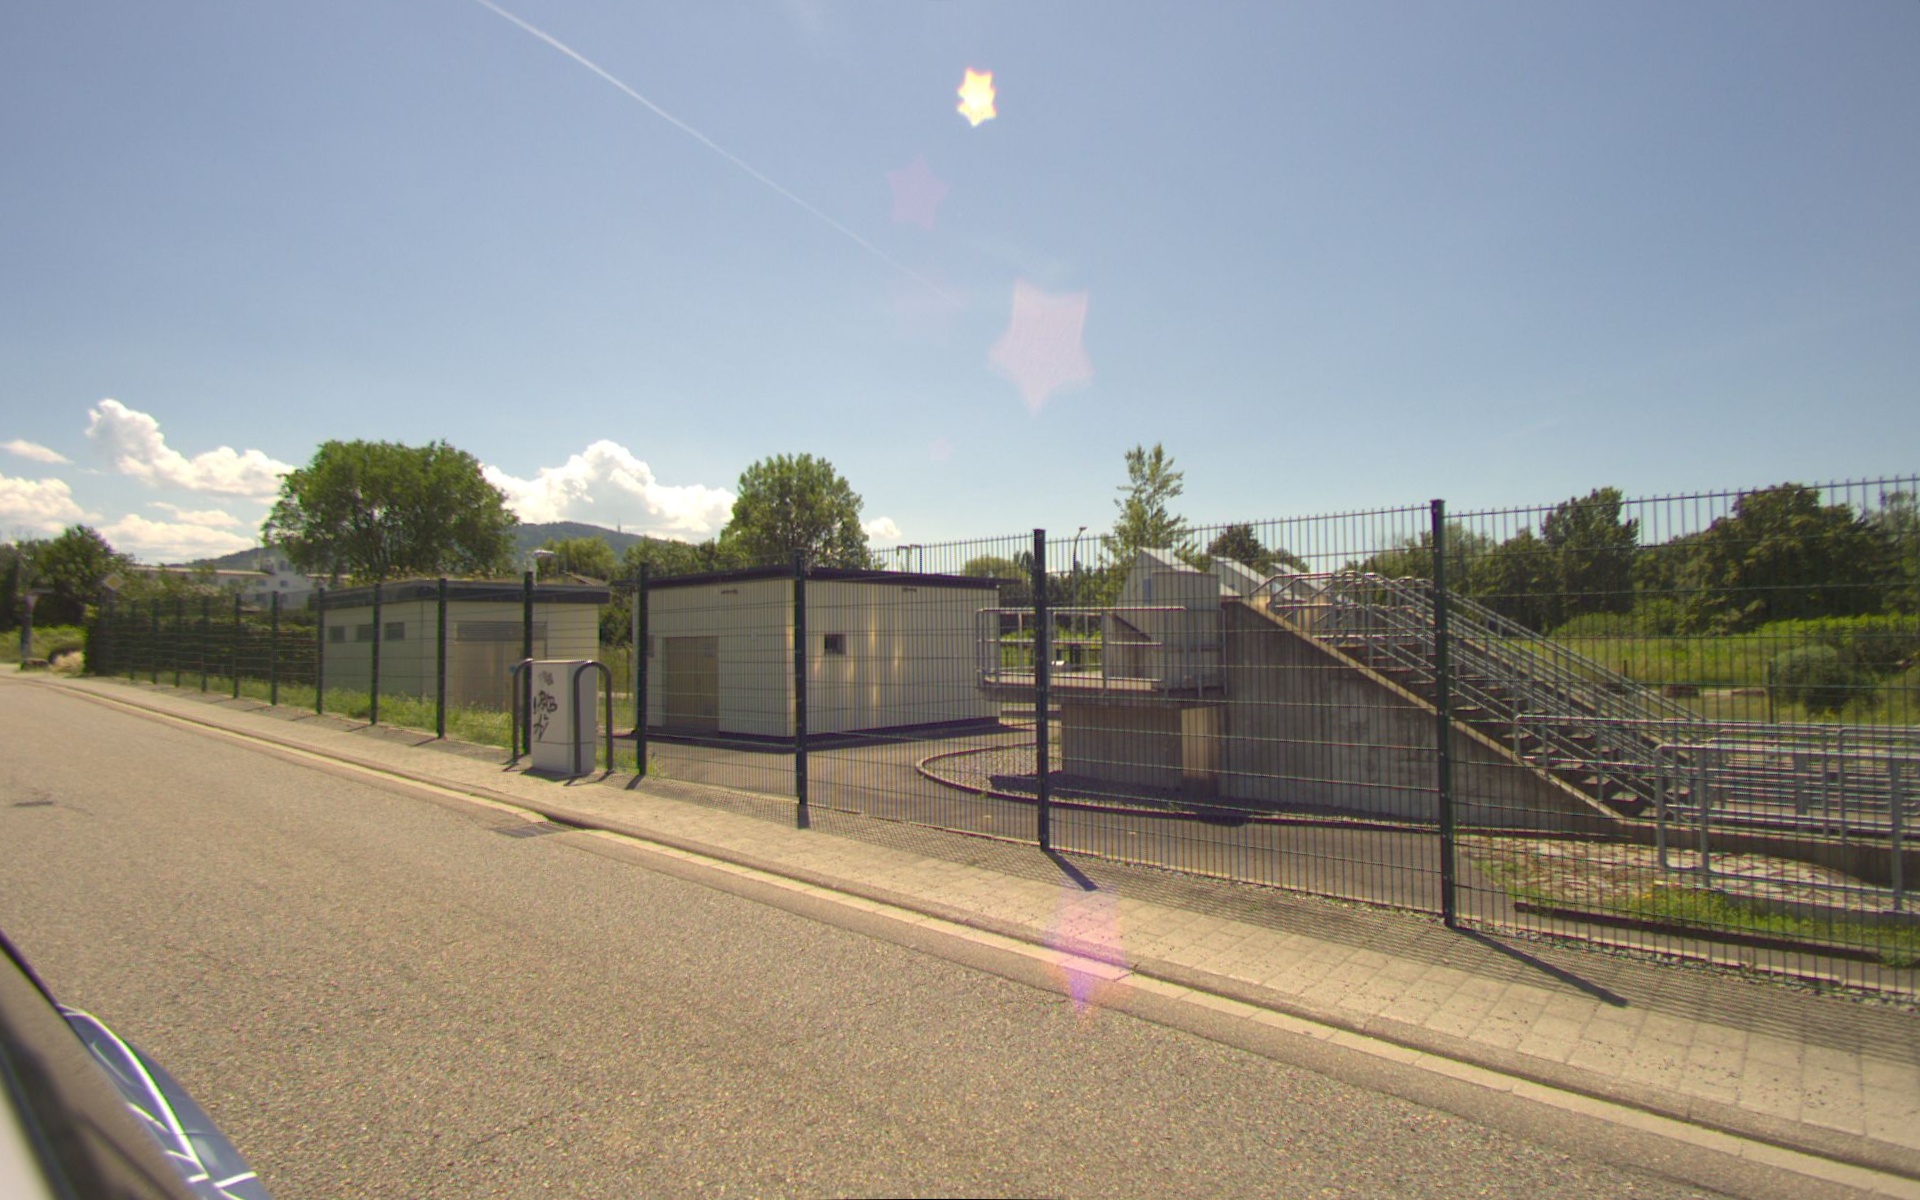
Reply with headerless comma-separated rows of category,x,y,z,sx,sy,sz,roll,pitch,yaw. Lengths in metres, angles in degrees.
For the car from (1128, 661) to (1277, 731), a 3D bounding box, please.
car,8.026,3.154,33.907,1.966,2.029,4.877,5,-4,-30
